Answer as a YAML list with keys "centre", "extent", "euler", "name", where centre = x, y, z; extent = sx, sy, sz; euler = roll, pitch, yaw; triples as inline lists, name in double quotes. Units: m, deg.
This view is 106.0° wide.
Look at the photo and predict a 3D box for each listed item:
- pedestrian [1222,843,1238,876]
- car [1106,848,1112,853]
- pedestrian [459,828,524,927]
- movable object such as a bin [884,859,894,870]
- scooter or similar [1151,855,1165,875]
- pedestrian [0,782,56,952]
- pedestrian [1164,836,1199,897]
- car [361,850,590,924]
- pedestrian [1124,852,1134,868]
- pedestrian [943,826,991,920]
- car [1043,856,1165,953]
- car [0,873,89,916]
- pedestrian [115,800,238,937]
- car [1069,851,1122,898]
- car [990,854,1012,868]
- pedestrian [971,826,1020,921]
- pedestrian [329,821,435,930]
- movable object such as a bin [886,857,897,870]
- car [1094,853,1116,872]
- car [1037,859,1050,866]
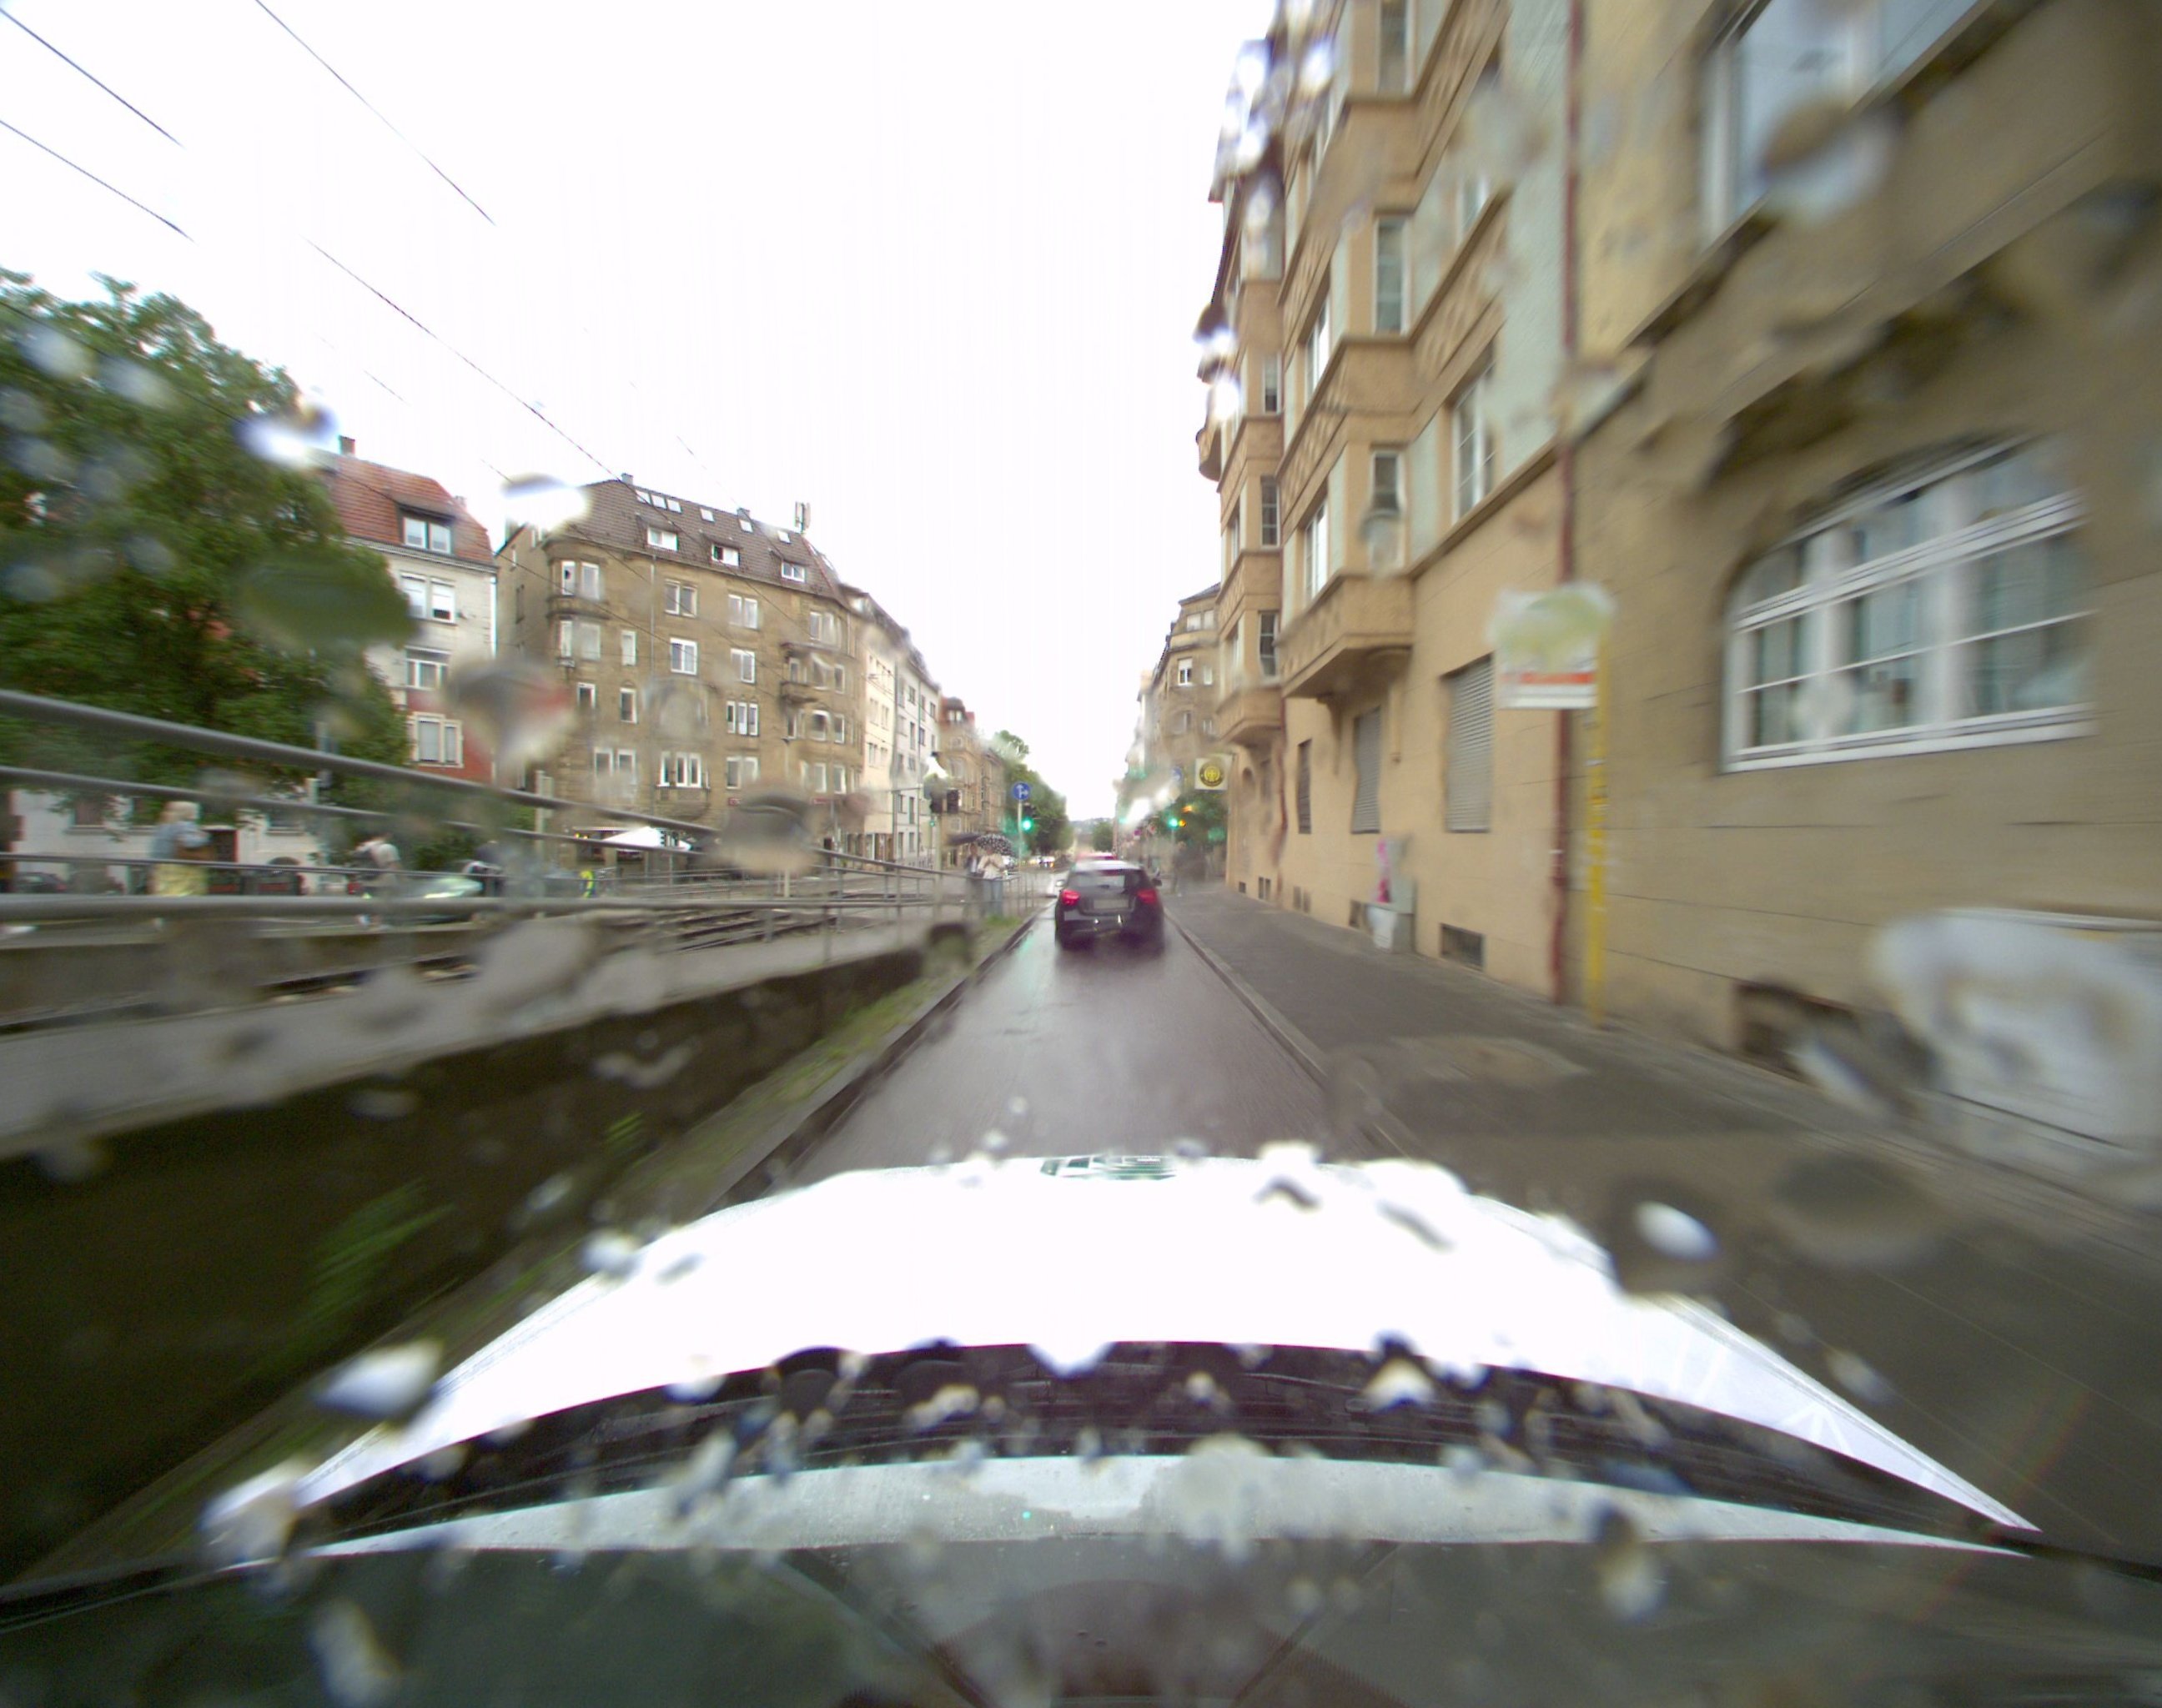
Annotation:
- centre: [8.170, 0.310, 44.666]
  extent: [0.592, 1.788, 0.890]
  euler: [-2, -1, -2]
  name: "pedestrian"
- centre: [7.639, -0.926, 221.608]
  extent: [1.607, 1.317, 4.001]
  euler: [1, 0, 2]
  name: "car"
- centre: [-11.010, 0.452, 15.231]
  extent: [0.509, 1.819, 0.800]
  euler: [0, -4, 2]
  name: "pedestrian"
- centre: [-16.224, 0.887, 68.829]
  extent: [0.591, 0.911, 0.560]
  euler: [3, 0, 1]
  name: "movable object such as a bin"
- centre: [4.650, 0.653, 49.366]
  extent: [0.636, 1.210, 1.551]
  euler: [-1, 0, -3]
  name: "scooter or similar"
- centre: [-11.169, 0.127, 8.082]
  extent: [0.741, 1.696, 0.883]
  euler: [0, -3, 1]
  name: "pedestrian"
- centre: [3.195, 0.392, 26.050]
  extent: [0.961, 1.840, 0.903]
  euler: [-4, -1, 4]
  name: "pedestrian"
- centre: [-13.727, 0.675, 18.905]
  extent: [1.637, 1.497, 4.766]
  euler: [0, 0, 2]
  name: "car"
- centre: [5.122, 0.637, 87.174]
  extent: [0.942, 1.769, 1.015]
  euler: [-1, 0, -1]
  name: "pedestrian"
- centre: [-2.500, 0.407, 17.983]
  extent: [0.893, 2.014, 0.948]
  euler: [0, 0, 1]
  name: "pedestrian"
- centre: [0.468, 0.773, 14.387]
  extent: [1.858, 1.452, 4.004]
  euler: [0, 0, 3]
  name: "car"
- centre: [-37.670, 1.440, 28.157]
  extent: [1.720, 1.403, 4.169]
  euler: [-2, 0, 43]
  name: "car"
- centre: [-11.158, 0.179, 10.067]
  extent: [0.741, 1.647, 0.641]
  euler: [0, -2, 1]
  name: "pedestrian"
- centre: [0.535, 0.646, 27.271]
  extent: [1.643, 1.452, 4.002]
  euler: [0, 0, 2]
  name: "car"
- centre: [-9.814, 0.859, 100.066]
  extent: [1.986, 1.628, 5.254]
  euler: [-1, -1, 2]
  name: "car"
- centre: [-1.840, 0.411, 17.607]
  extent: [0.922, 2.014, 0.948]
  euler: [0, 0, 1]
  name: "pedestrian"
- centre: [-10.556, 0.327, 12.340]
  extent: [0.690, 1.583, 0.956]
  euler: [0, -3, 2]
  name: "pedestrian"
- centre: [-16.136, 0.799, 69.515]
  extent: [0.710, 1.074, 0.687]
  euler: [3, 0, 1]
  name: "movable object such as a bin"
- centre: [2.038, 0.733, 69.740]
  extent: [1.759, 1.559, 4.747]
  euler: [-1, 0, 2]
  name: "car"
- centre: [-7.231, 1.620, 157.300]
  extent: [1.941, 1.397, 4.276]
  euler: [-2, 0, 2]
  name: "car"
